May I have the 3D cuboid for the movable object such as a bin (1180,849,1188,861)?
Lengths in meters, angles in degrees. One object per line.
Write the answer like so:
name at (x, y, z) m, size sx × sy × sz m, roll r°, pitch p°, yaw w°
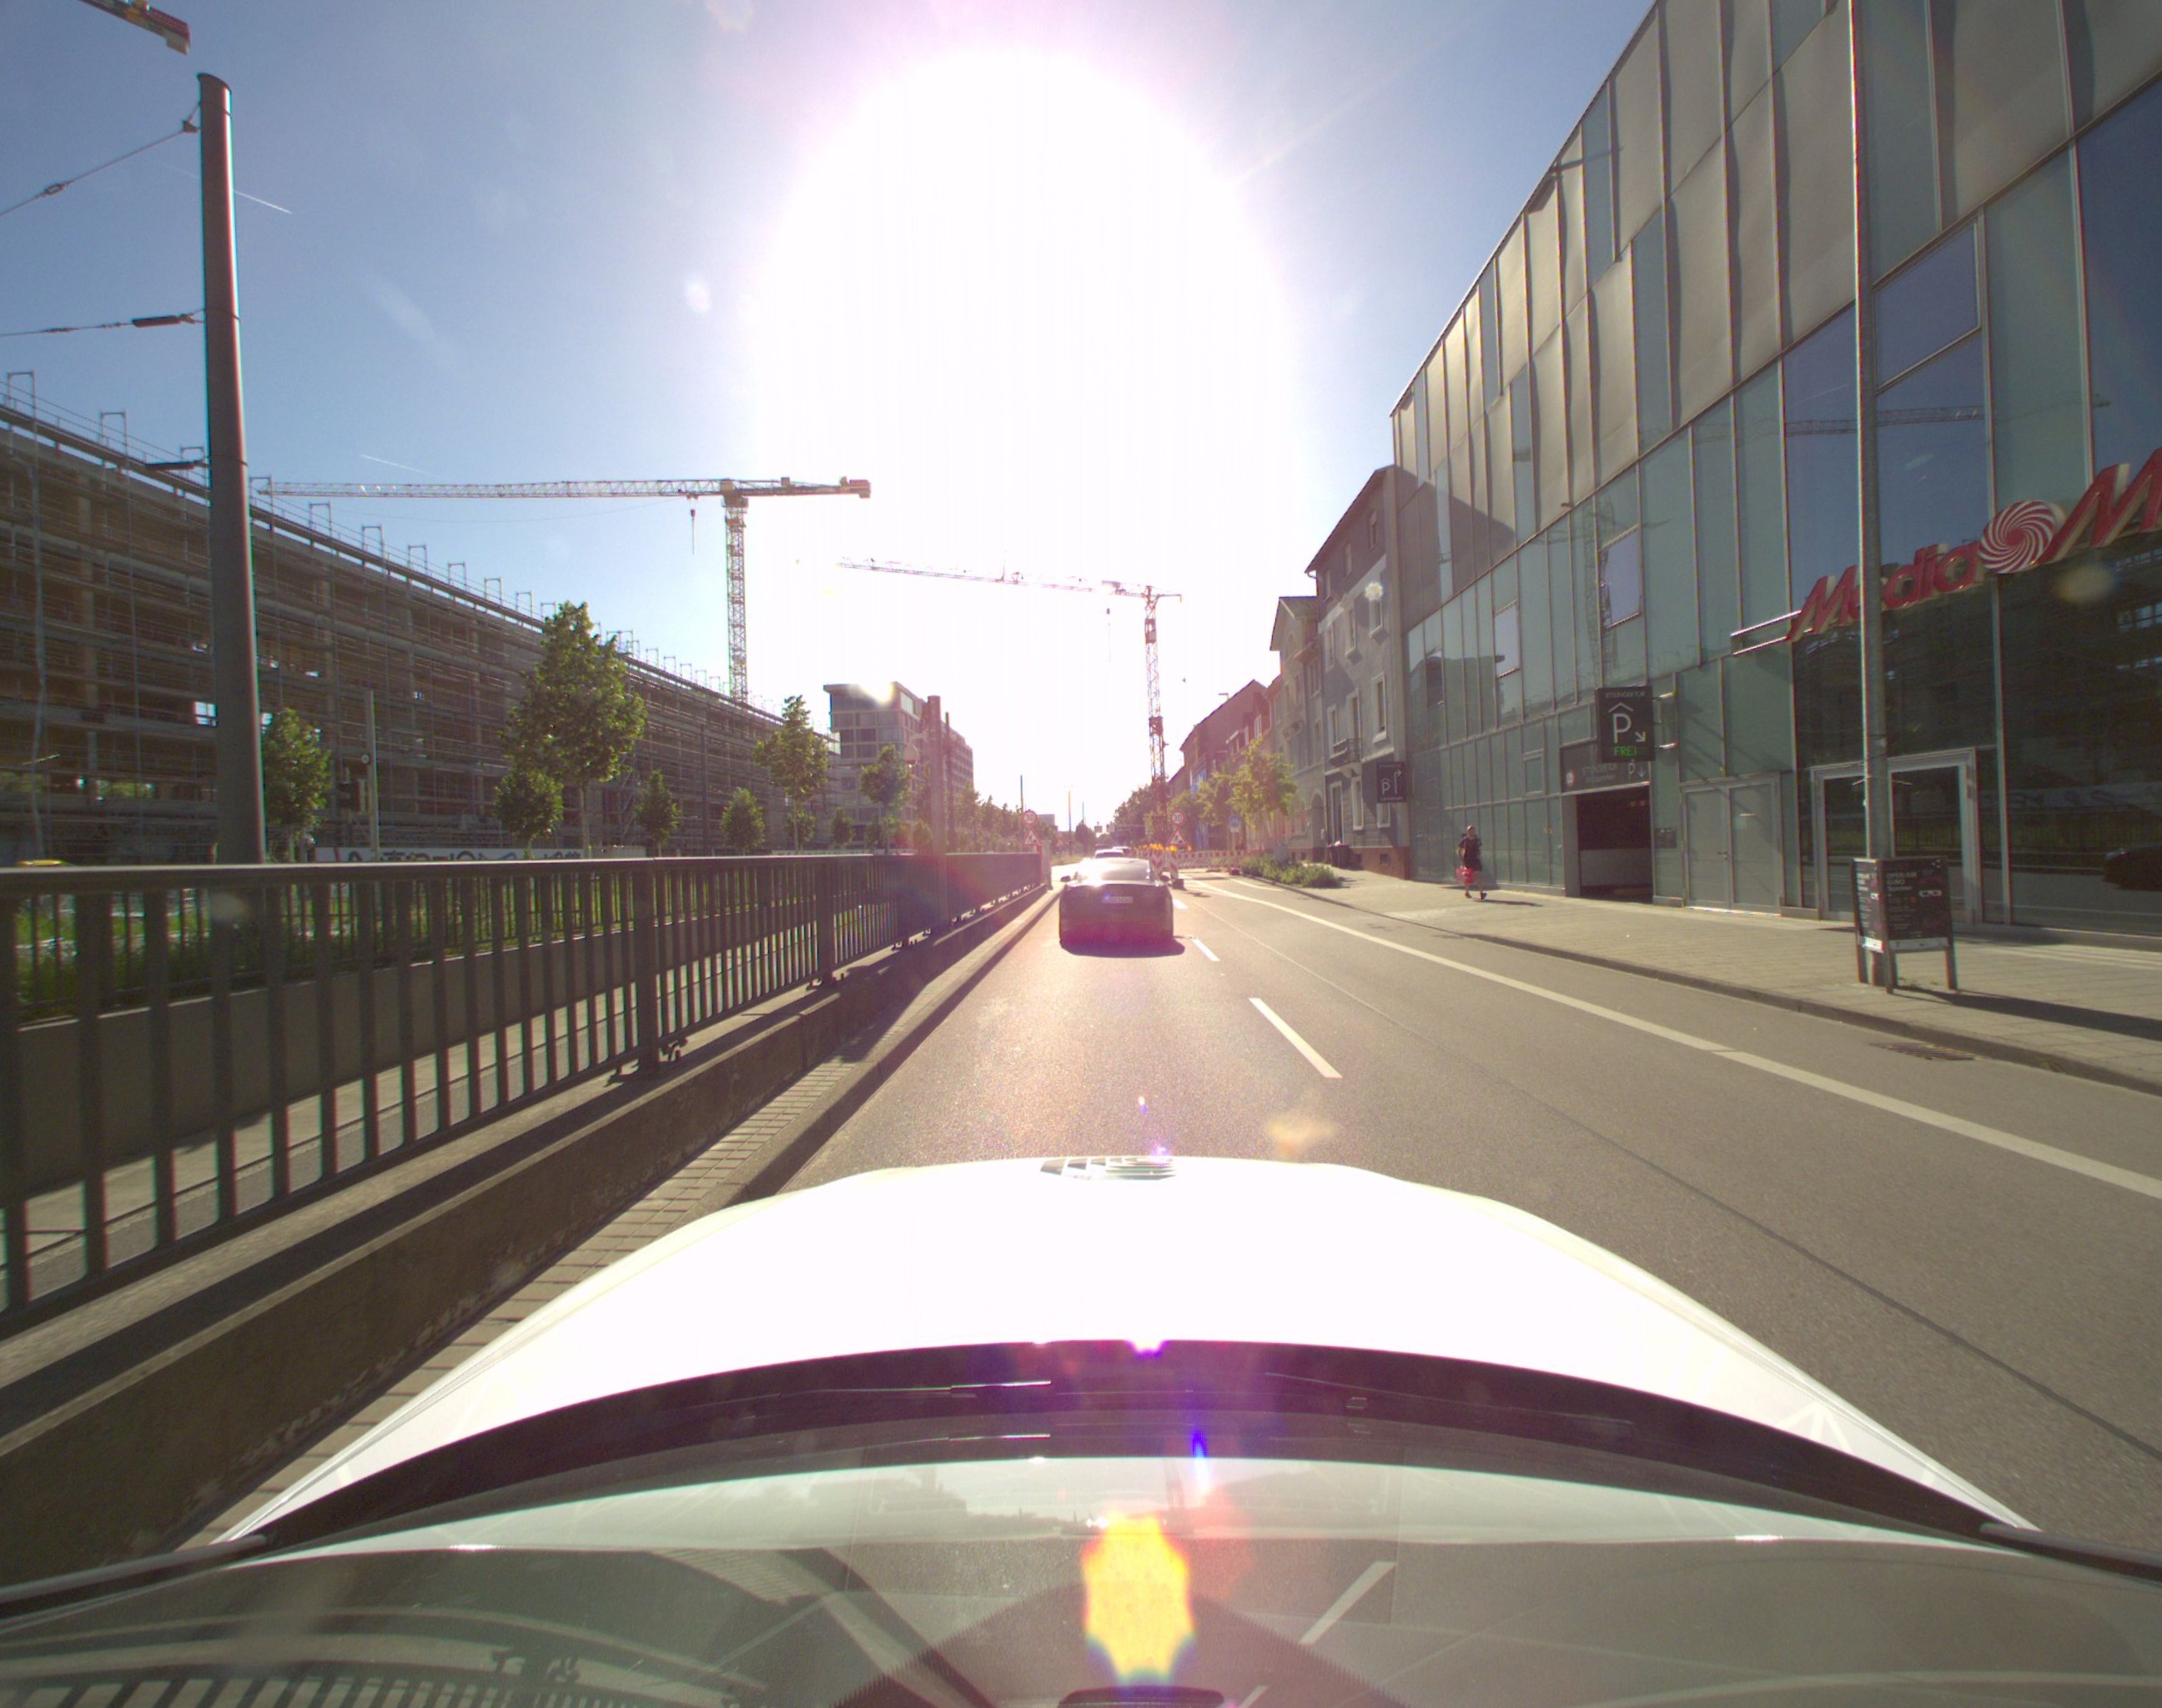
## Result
movable object such as a bin at (9.094, 0.072, 72.036) m, size 0.593 × 1.057 × 0.731 m, roll -6°, pitch 0°, yaw 3°

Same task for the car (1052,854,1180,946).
car at (0.640, 0.739, 15.462) m, size 2.043 × 1.444 × 4.526 m, roll -1°, pitch 0°, yaw 2°

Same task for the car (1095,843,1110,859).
car at (3.238, -0.477, 125.603) m, size 2.210 × 2.267 × 4.485 m, roll -1°, pitch 0°, yaw 1°

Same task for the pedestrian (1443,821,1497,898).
pedestrian at (10.170, 0.138, 21.315) m, size 0.872 × 1.924 × 0.896 m, roll -5°, pitch 0°, yaw 1°

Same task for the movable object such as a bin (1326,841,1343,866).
movable object such as a bin at (11.854, -0.024, 38.077) m, size 0.586 × 1.108 × 0.704 m, roll -2°, pitch 0°, yaw 3°

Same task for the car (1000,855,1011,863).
car at (-16.532, 1.080, 177.891) m, size 1.783 × 1.651 × 4.003 m, roll -2°, pitch 0°, yaw 3°

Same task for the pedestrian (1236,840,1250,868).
pedestrian at (11.416, 0.011, 57.334) m, size 0.791 × 1.928 × 0.769 m, roll -1°, pitch 0°, yaw -4°

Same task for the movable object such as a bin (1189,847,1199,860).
movable object such as a bin at (9.987, -0.025, 71.862) m, size 0.586 × 1.057 × 0.783 m, roll -7°, pitch 0°, yaw -2°

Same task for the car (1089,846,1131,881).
car at (1.297, 0.389, 36.958) m, size 1.741 × 1.427 × 4.840 m, roll -1°, pitch 0°, yaw 2°

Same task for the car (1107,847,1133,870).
car at (2.793, 0.283, 58.315) m, size 1.742 × 1.527 × 4.007 m, roll -1°, pitch 0°, yaw 3°

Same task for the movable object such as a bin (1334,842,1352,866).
movable object such as a bin at (11.982, -0.002, 37.255) m, size 0.600 × 1.082 × 0.704 m, roll -2°, pitch 0°, yaw 3°
